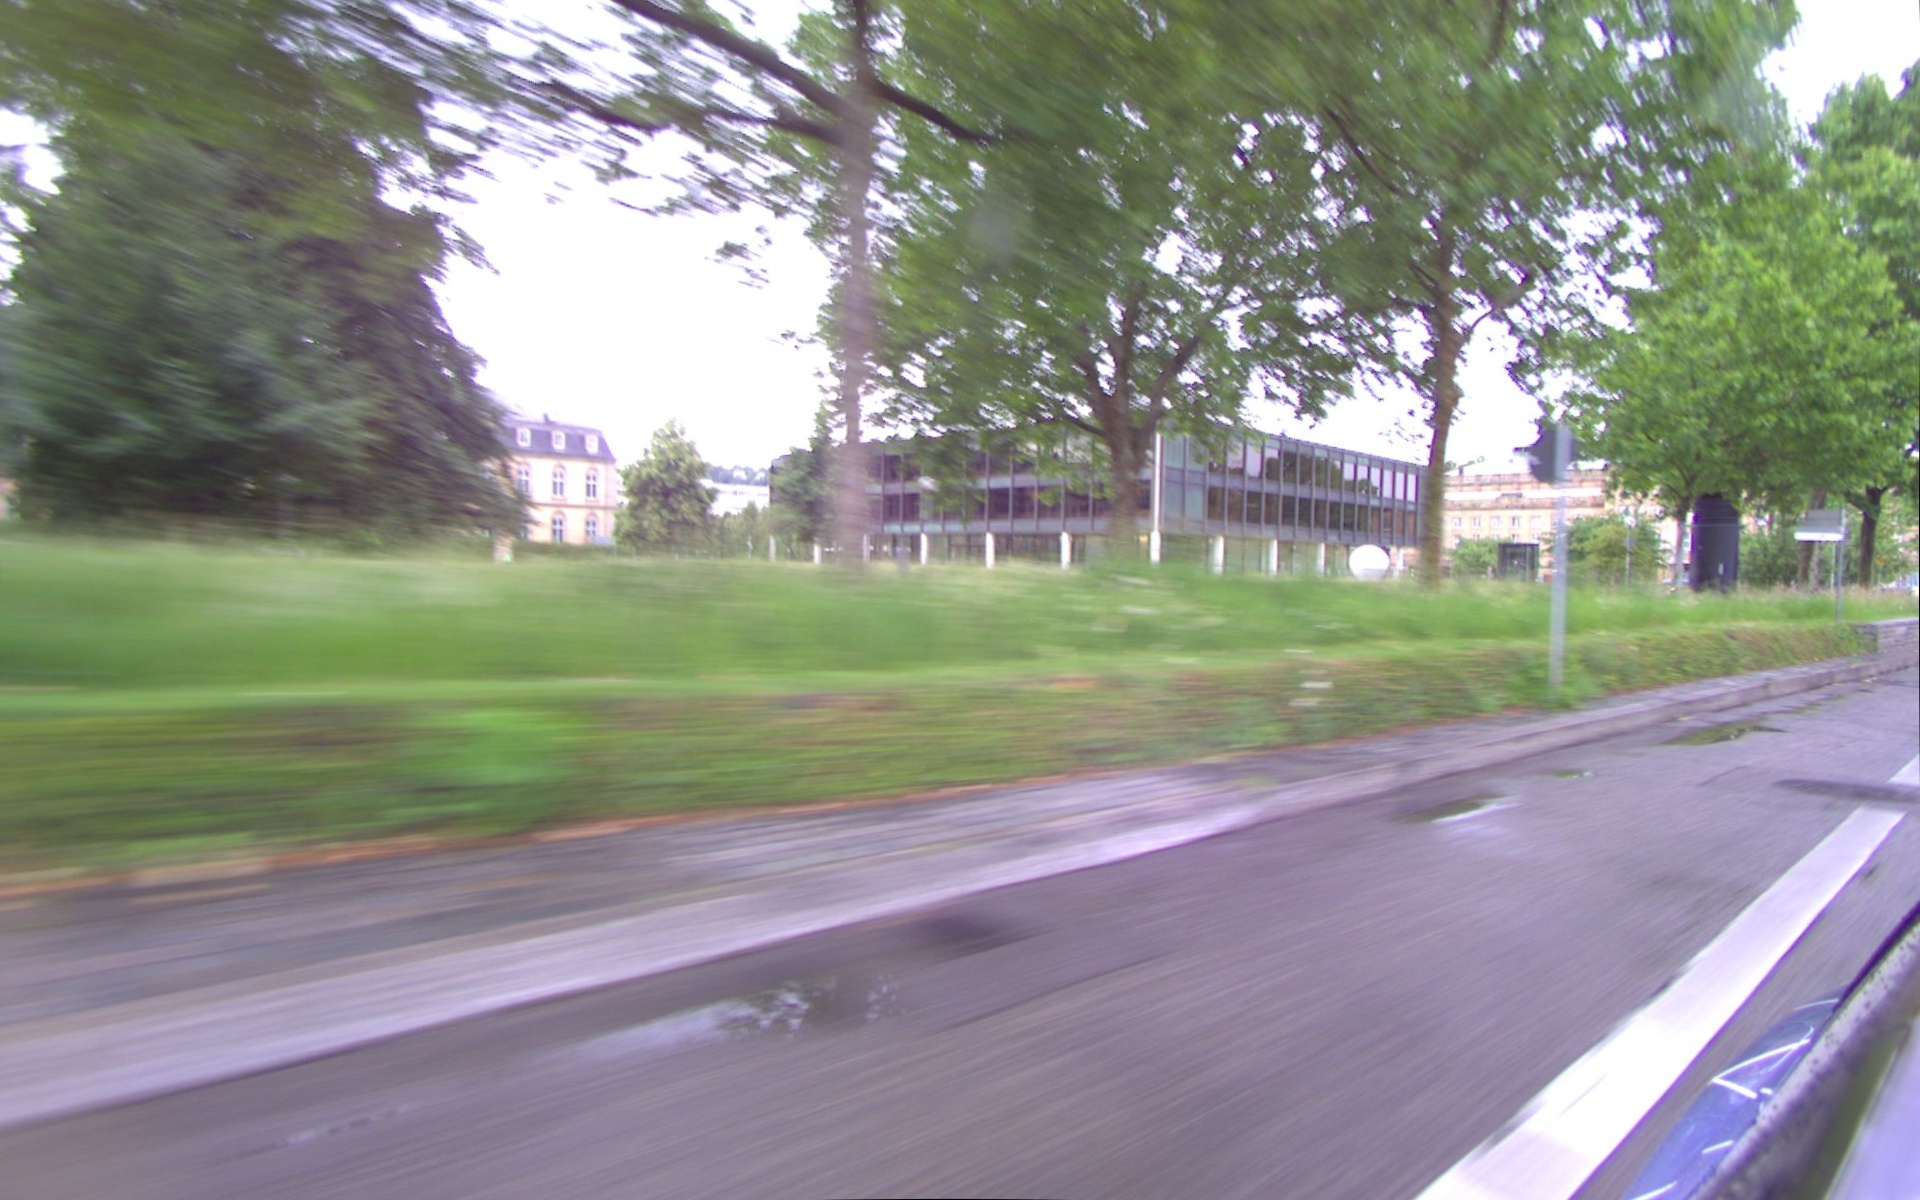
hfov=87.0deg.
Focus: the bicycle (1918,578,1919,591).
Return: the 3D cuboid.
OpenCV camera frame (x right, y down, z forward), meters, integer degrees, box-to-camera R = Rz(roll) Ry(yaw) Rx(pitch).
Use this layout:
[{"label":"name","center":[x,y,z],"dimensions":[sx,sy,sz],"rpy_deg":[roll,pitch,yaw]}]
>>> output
[{"label":"bicycle","center":[84.624,-1.331,88.049],"dimensions":[1.741,1.079,0.820],"rpy_deg":[1,1,30]}]
